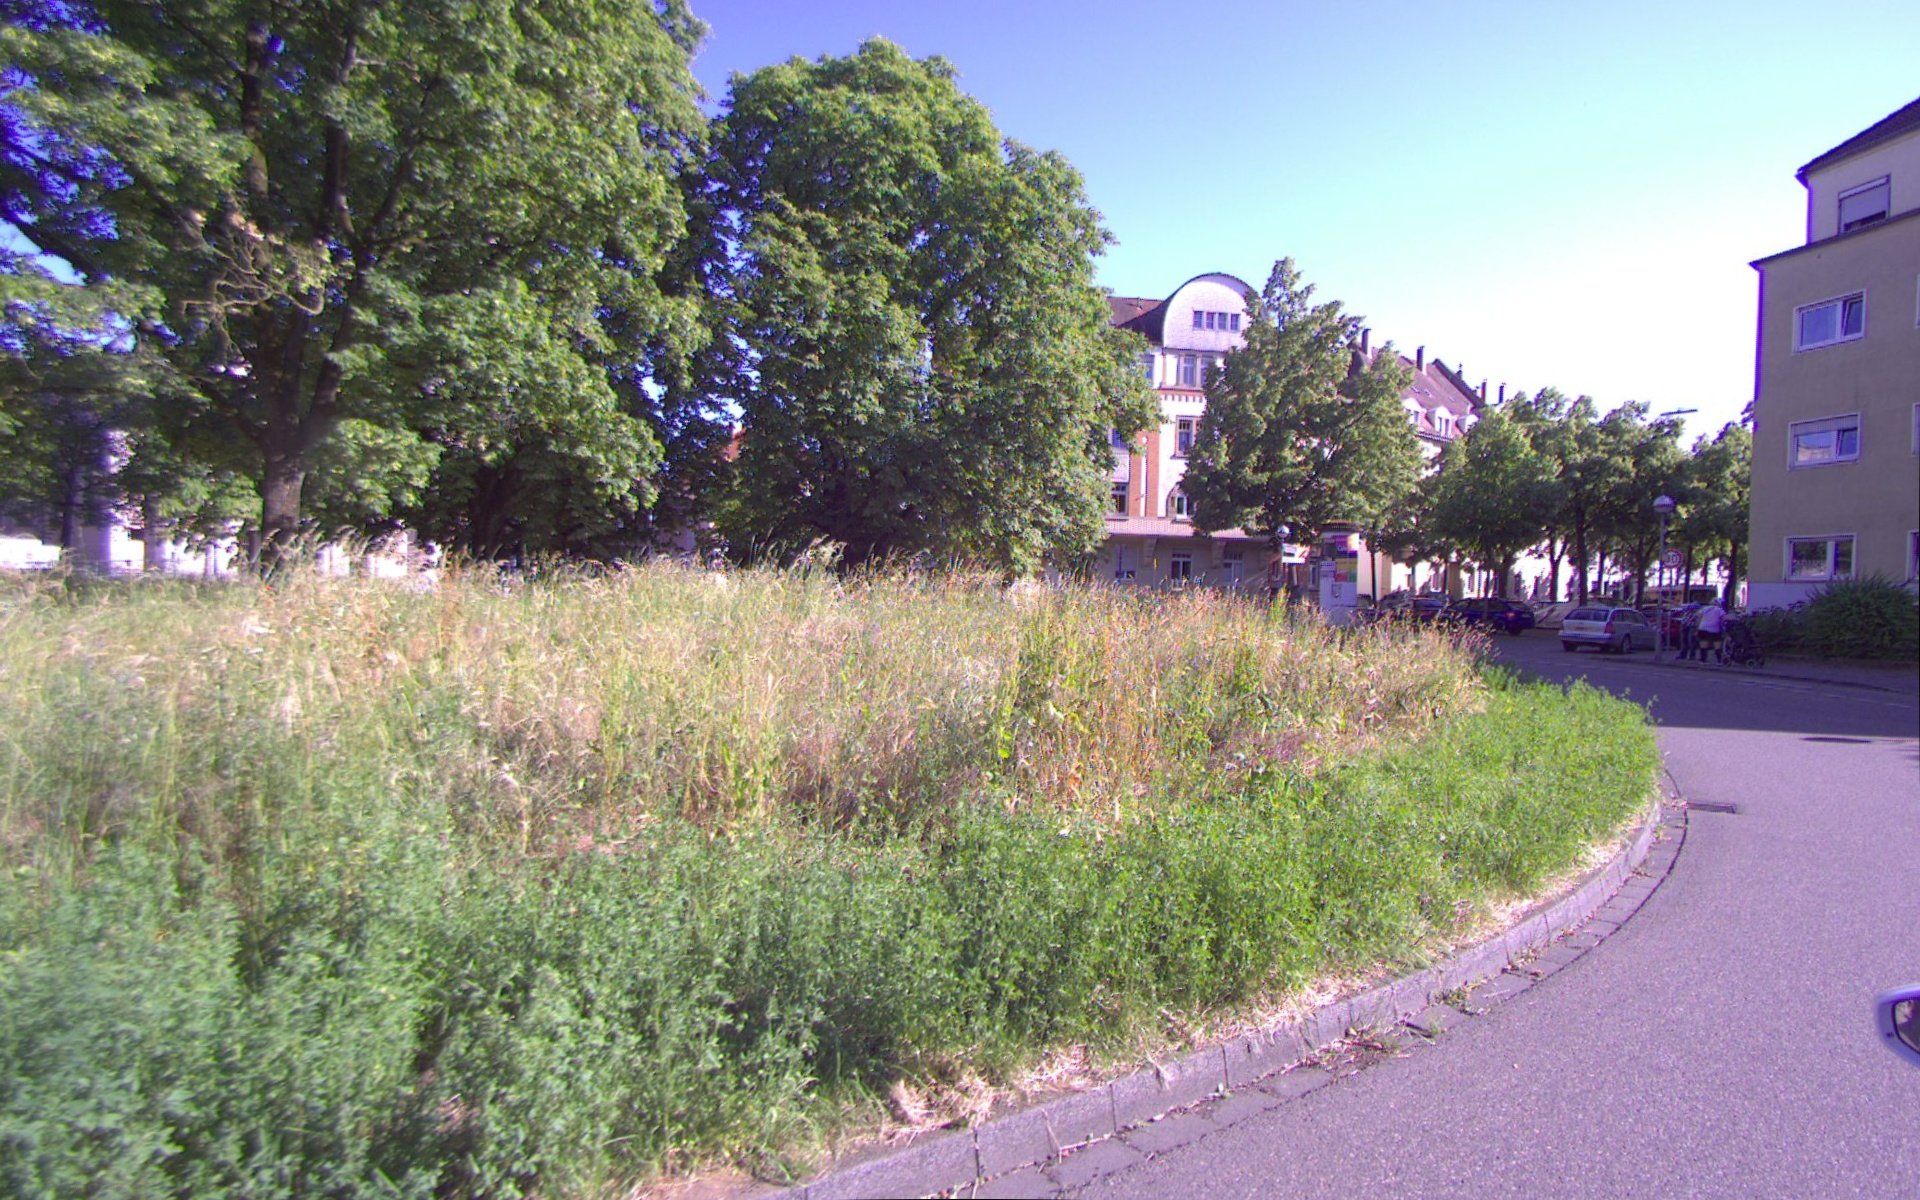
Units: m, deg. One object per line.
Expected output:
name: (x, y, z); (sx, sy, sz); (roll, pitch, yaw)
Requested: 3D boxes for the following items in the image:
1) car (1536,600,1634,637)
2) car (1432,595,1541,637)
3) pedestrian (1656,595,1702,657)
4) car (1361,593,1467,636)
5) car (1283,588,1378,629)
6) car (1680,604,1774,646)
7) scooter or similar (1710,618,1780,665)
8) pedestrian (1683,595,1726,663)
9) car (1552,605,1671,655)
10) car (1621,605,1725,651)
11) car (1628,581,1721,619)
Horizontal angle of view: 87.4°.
car: (30.400, 0.884, 48.969); (1.711, 1.659, 3.658); (2, 0, -28)
car: (21.800, 0.646, 41.715); (1.711, 1.567, 3.658); (2, 0, -28)
pedestrian: (18.054, 0.644, 25.225); (0.692, 1.544, 0.816); (0, 0, -40)
car: (18.121, 0.549, 40.213); (1.708, 1.567, 3.665); (2, 0, -23)
car: (15.289, 0.340, 41.625); (1.706, 1.567, 3.669); (2, 0, -19)
car: (28.902, 0.955, 37.820); (4.347, 1.458, 1.717); (2, 0, -37)
scooter or similar: (17.609, 0.919, 22.550); (0.884, 1.036, 0.914); (0, 0, -17)
pedestrian: (17.263, 0.658, 23.285); (0.691, 1.544, 0.643); (0, 0, -37)
car: (20.506, 0.935, 31.551); (4.448, 1.430, 1.714); (1, 1, -37)
car: (24.718, 0.969, 34.777); (4.347, 1.458, 1.717); (2, 0, -37)
car: (40.420, -0.024, 56.934); (2.131, 2.014, 4.198); (2, 0, -2)
